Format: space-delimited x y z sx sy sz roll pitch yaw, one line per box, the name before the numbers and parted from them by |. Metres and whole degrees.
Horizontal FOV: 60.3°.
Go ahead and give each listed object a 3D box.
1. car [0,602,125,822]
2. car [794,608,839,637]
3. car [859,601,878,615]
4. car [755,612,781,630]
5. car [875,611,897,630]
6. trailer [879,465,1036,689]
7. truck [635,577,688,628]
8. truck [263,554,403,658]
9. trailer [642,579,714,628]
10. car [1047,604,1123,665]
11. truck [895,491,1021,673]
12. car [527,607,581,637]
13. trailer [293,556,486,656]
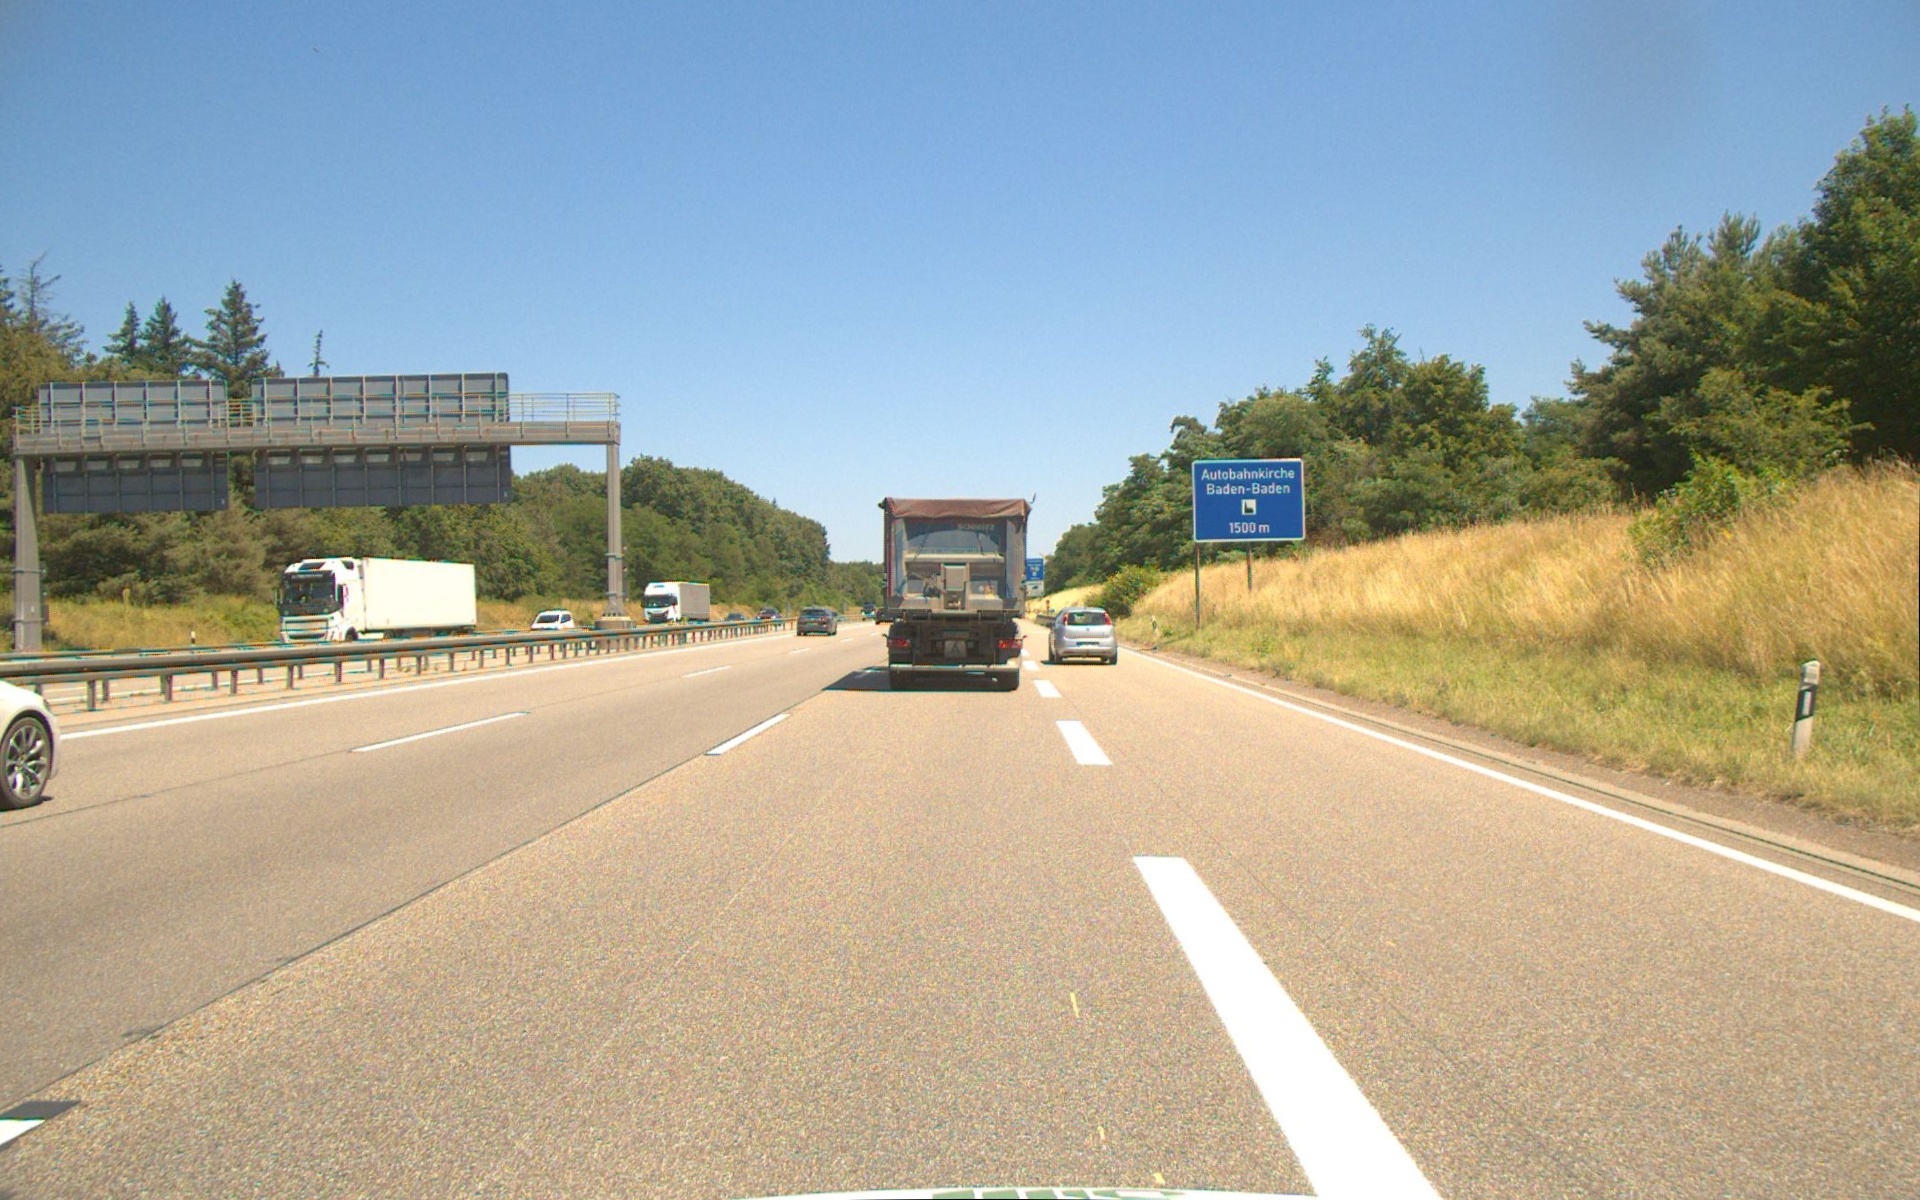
car | -7.681 0.769 10.501 1.923 1.530 5.405 0 -1 1
car | -7.309 1.133 84.712 1.794 1.457 5.000 0 0 1
car | -13.157 1.192 237.986 2.232 1.974 4.943 -1 0 1
car | -18.270 1.964 157.508 1.808 1.638 4.922 0 0 1
car | -6.374 1.763 142.731 1.668 1.500 4.597 -1 0 1
trailer | -0.037 -0.410 33.009 2.681 3.824 9.108 0 0 0
truck | -24.310 0.217 134.826 3.102 4.000 5.402 0 -1 3
truck | -25.695 0.244 68.092 3.147 4.088 6.217 0 0 3
trailer | -23.952 0.304 141.543 3.102 4.000 13.968 0 0 3
car | 3.322 0.886 44.386 1.684 1.518 3.736 0 0 -1
truck | -0.035 -0.390 37.937 2.629 3.824 5.944 0 0 0
car | -24.641 1.297 100.548 1.952 1.780 4.991 0 0 1
trailer | -25.373 0.290 74.757 3.147 4.113 14.365 0 0 3
